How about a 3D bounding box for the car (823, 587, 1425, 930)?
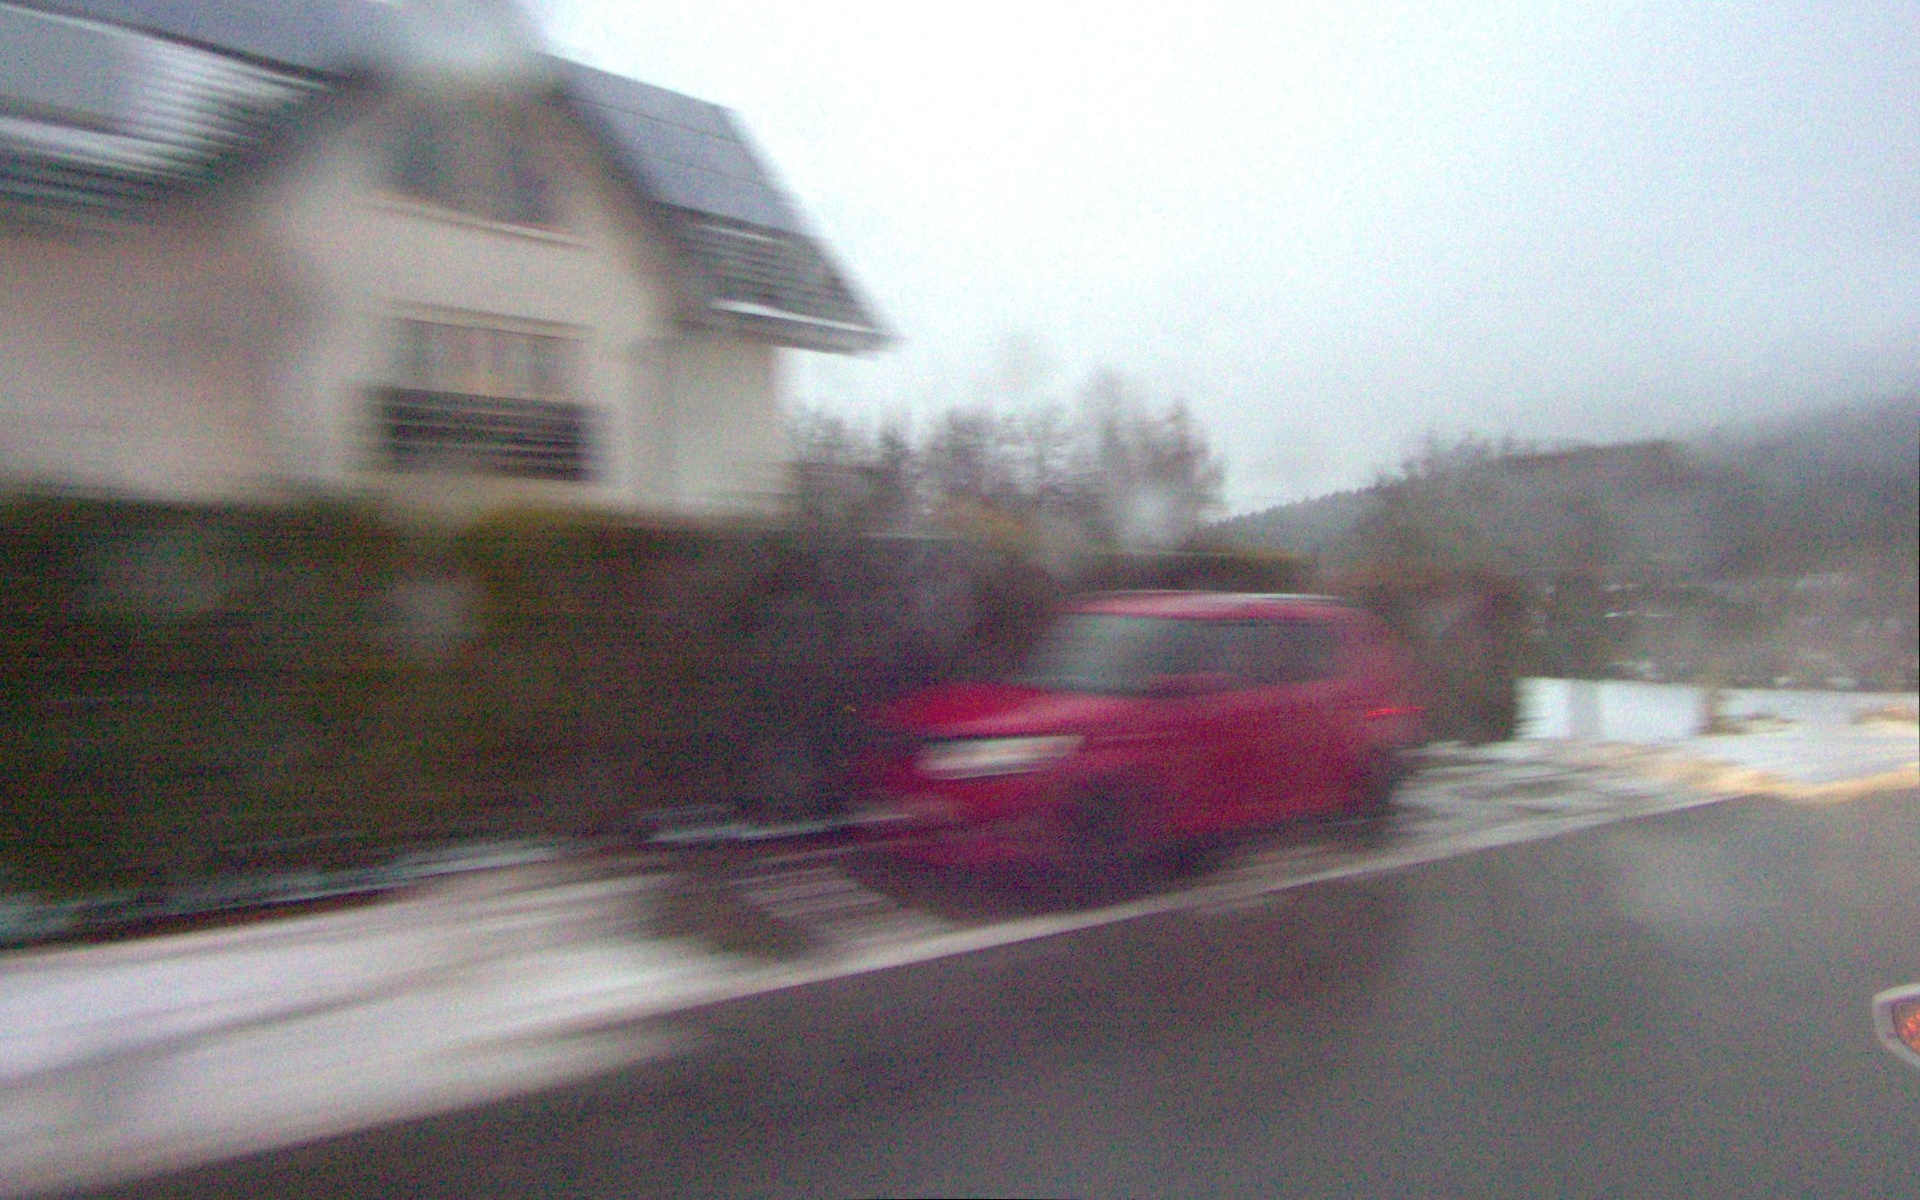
[{"bbox_3d":[1.089,0.738,6.243,3.479,1.555,1.708,0,-1,-33],"label":"car"}]
